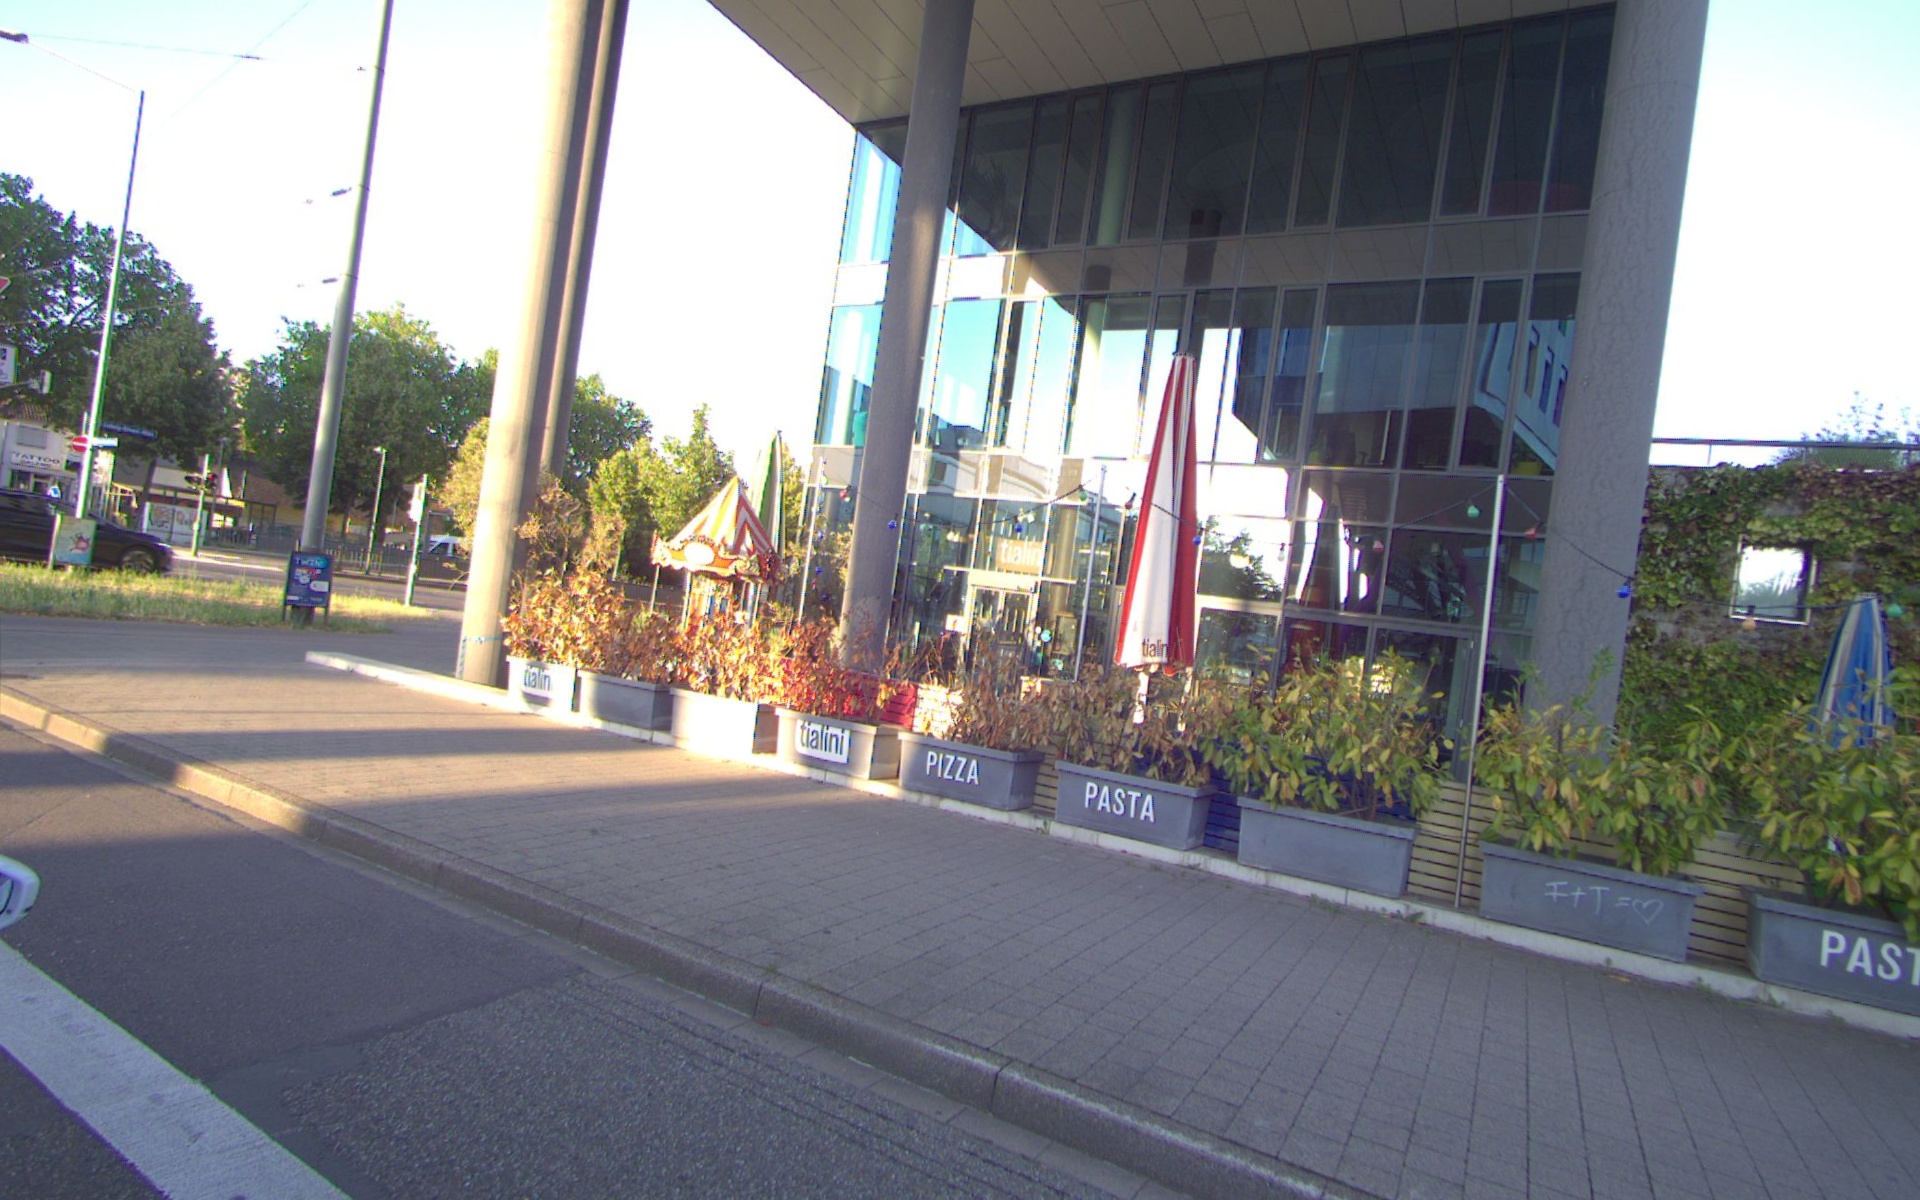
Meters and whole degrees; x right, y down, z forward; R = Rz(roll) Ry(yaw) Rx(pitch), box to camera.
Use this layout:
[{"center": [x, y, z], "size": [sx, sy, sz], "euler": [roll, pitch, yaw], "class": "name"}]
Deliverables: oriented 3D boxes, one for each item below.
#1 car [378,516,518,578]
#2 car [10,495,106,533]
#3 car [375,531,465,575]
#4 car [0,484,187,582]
[{"center": [-30.743, -3.128, 60.678], "size": [2.765, 2.666, 6.931], "euler": [6, -2, 32], "class": "car"}, {"center": [-50.292, -4.766, 56.121], "size": [1.641, 1.456, 3.736], "euler": [6, -2, 41], "class": "car"}, {"center": [-42.620, -3.695, 79.529], "size": [2.197, 2.581, 5.594], "euler": [7, -2, 39], "class": "car"}, {"center": [-19.998, -1.565, 21.594], "size": [1.965, 1.633, 4.921], "euler": [7, -2, 28], "class": "car"}]
